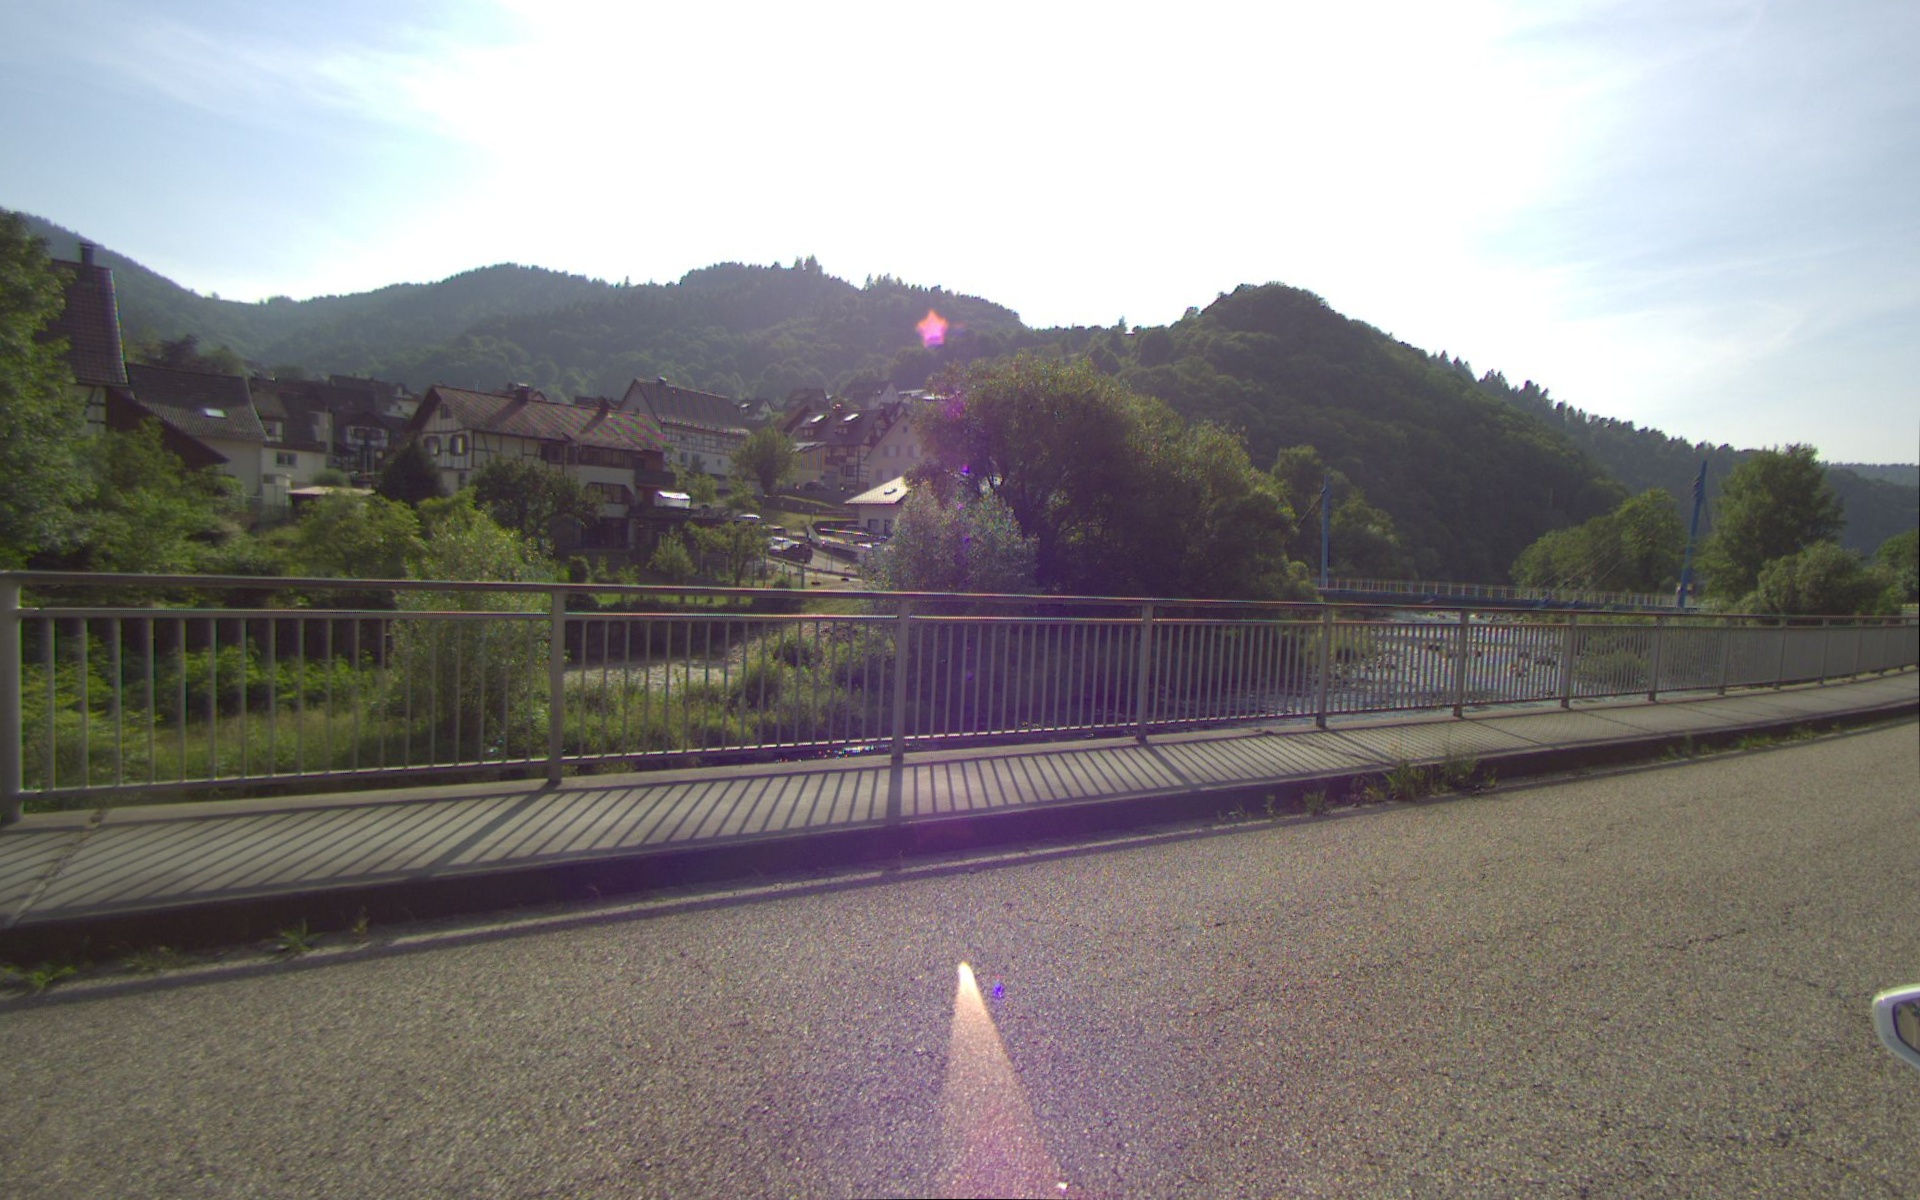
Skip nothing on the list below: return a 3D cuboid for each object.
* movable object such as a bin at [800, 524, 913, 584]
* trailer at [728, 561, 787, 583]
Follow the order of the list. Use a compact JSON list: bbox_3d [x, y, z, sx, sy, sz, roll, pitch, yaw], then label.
[{"bbox_3d":[-8.038,-3.554,78.900,8.007,3.256,3.551,10,2,1],"label":"movable object such as a bin"},{"bbox_3d":[-13.582,-1.867,67.520,1.865,1.327,3.690,1,0,32],"label":"trailer"}]
